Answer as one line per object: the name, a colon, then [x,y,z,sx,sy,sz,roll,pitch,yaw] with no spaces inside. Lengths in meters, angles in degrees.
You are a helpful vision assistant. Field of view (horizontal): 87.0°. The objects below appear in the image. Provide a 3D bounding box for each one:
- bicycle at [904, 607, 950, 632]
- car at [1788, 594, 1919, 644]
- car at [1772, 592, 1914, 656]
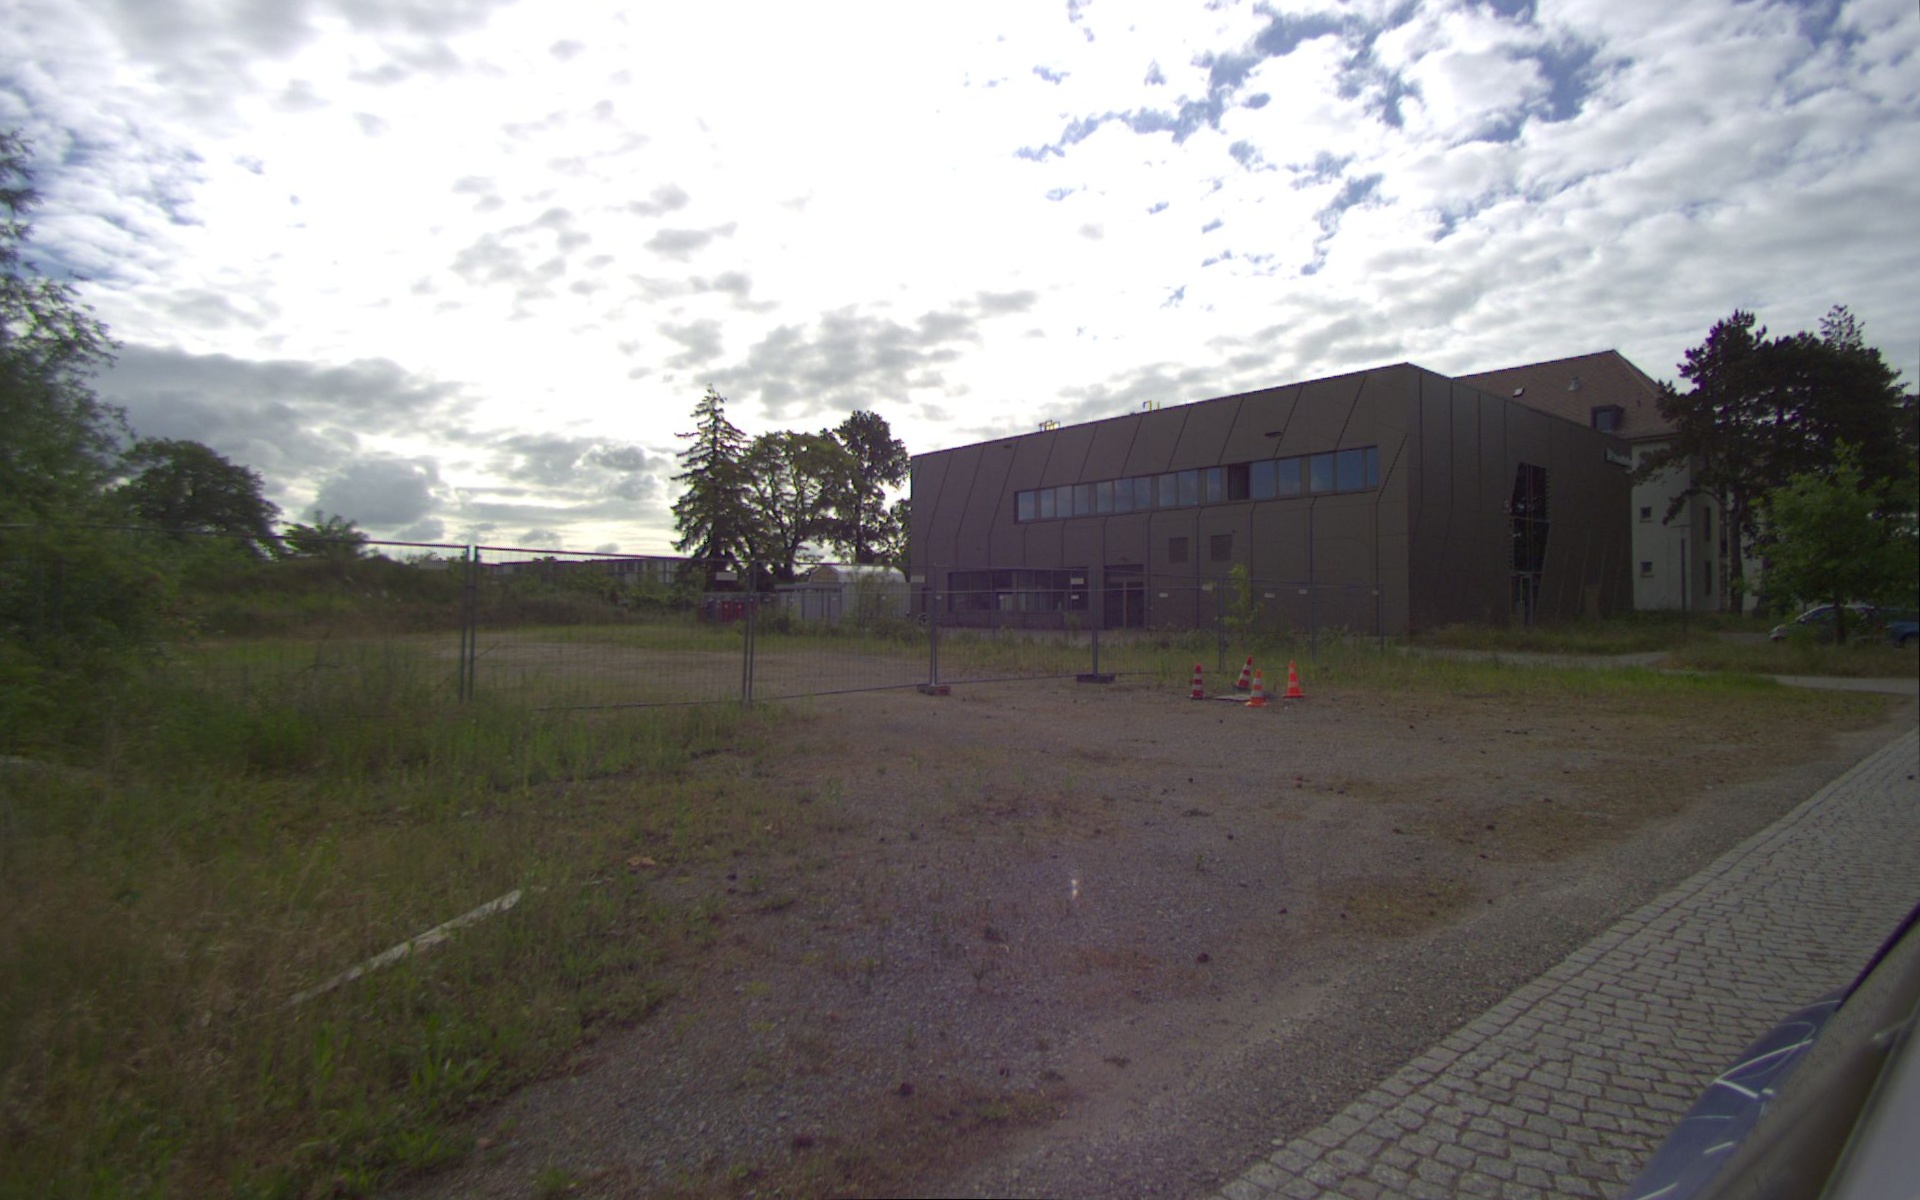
bicycle: [-1.473,0.866,45.380,1.953,1.038,0.835,-1,0,-39]
car: [30.084,0.618,33.030,1.899,1.468,4.531,0,2,-42]
car: [24.648,0.629,28.290,1.653,1.602,2.747,0,2,-40]
